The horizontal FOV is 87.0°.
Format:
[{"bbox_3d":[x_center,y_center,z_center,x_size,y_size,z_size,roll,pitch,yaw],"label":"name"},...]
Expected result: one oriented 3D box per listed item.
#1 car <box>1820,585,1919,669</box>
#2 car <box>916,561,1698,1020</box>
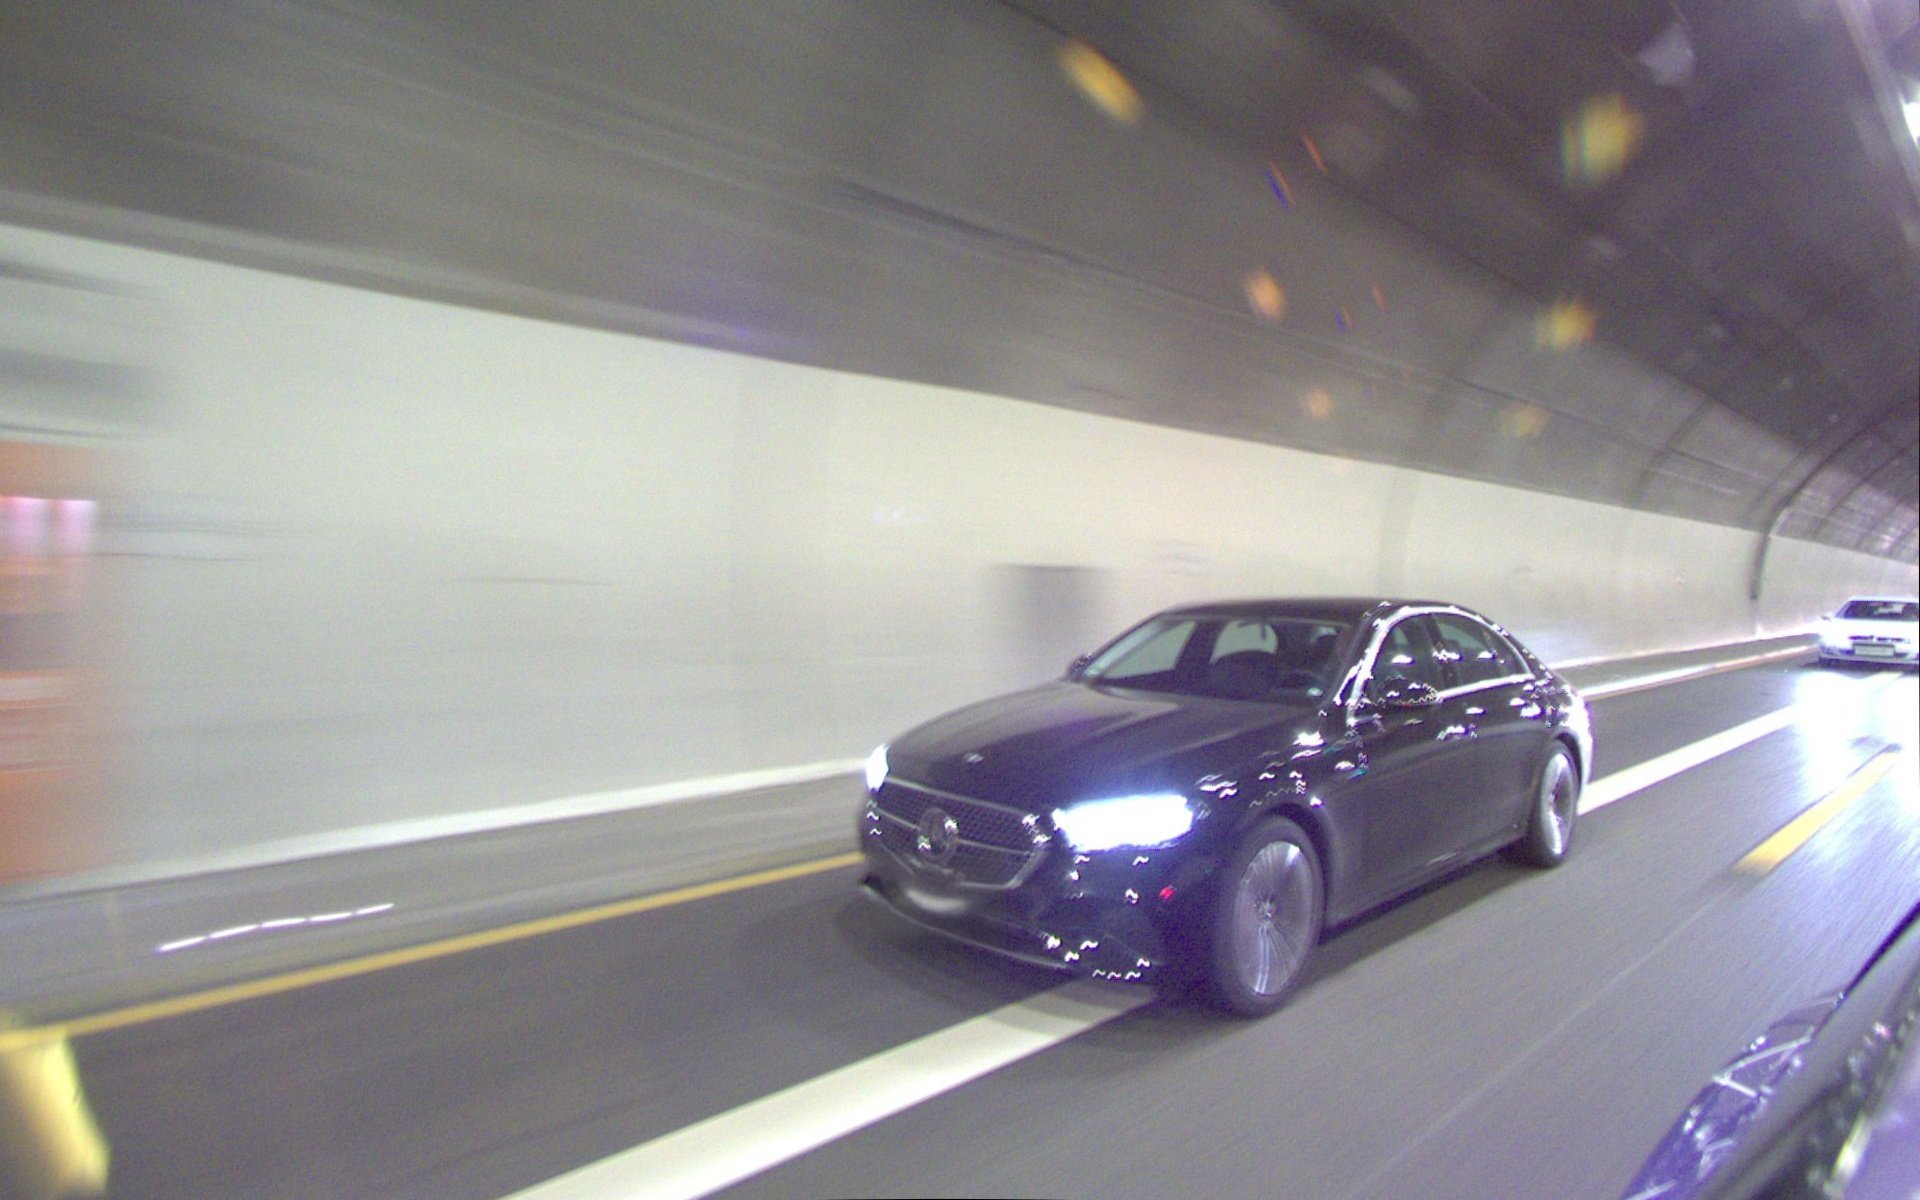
[{"bbox_3d":[19.024,0.508,20.432,3.962,1.479,1.802,0,3,-39],"label":"car"},{"bbox_3d":[2.267,0.590,5.659,4.867,1.490,1.930,0,2,-41],"label":"car"}]
